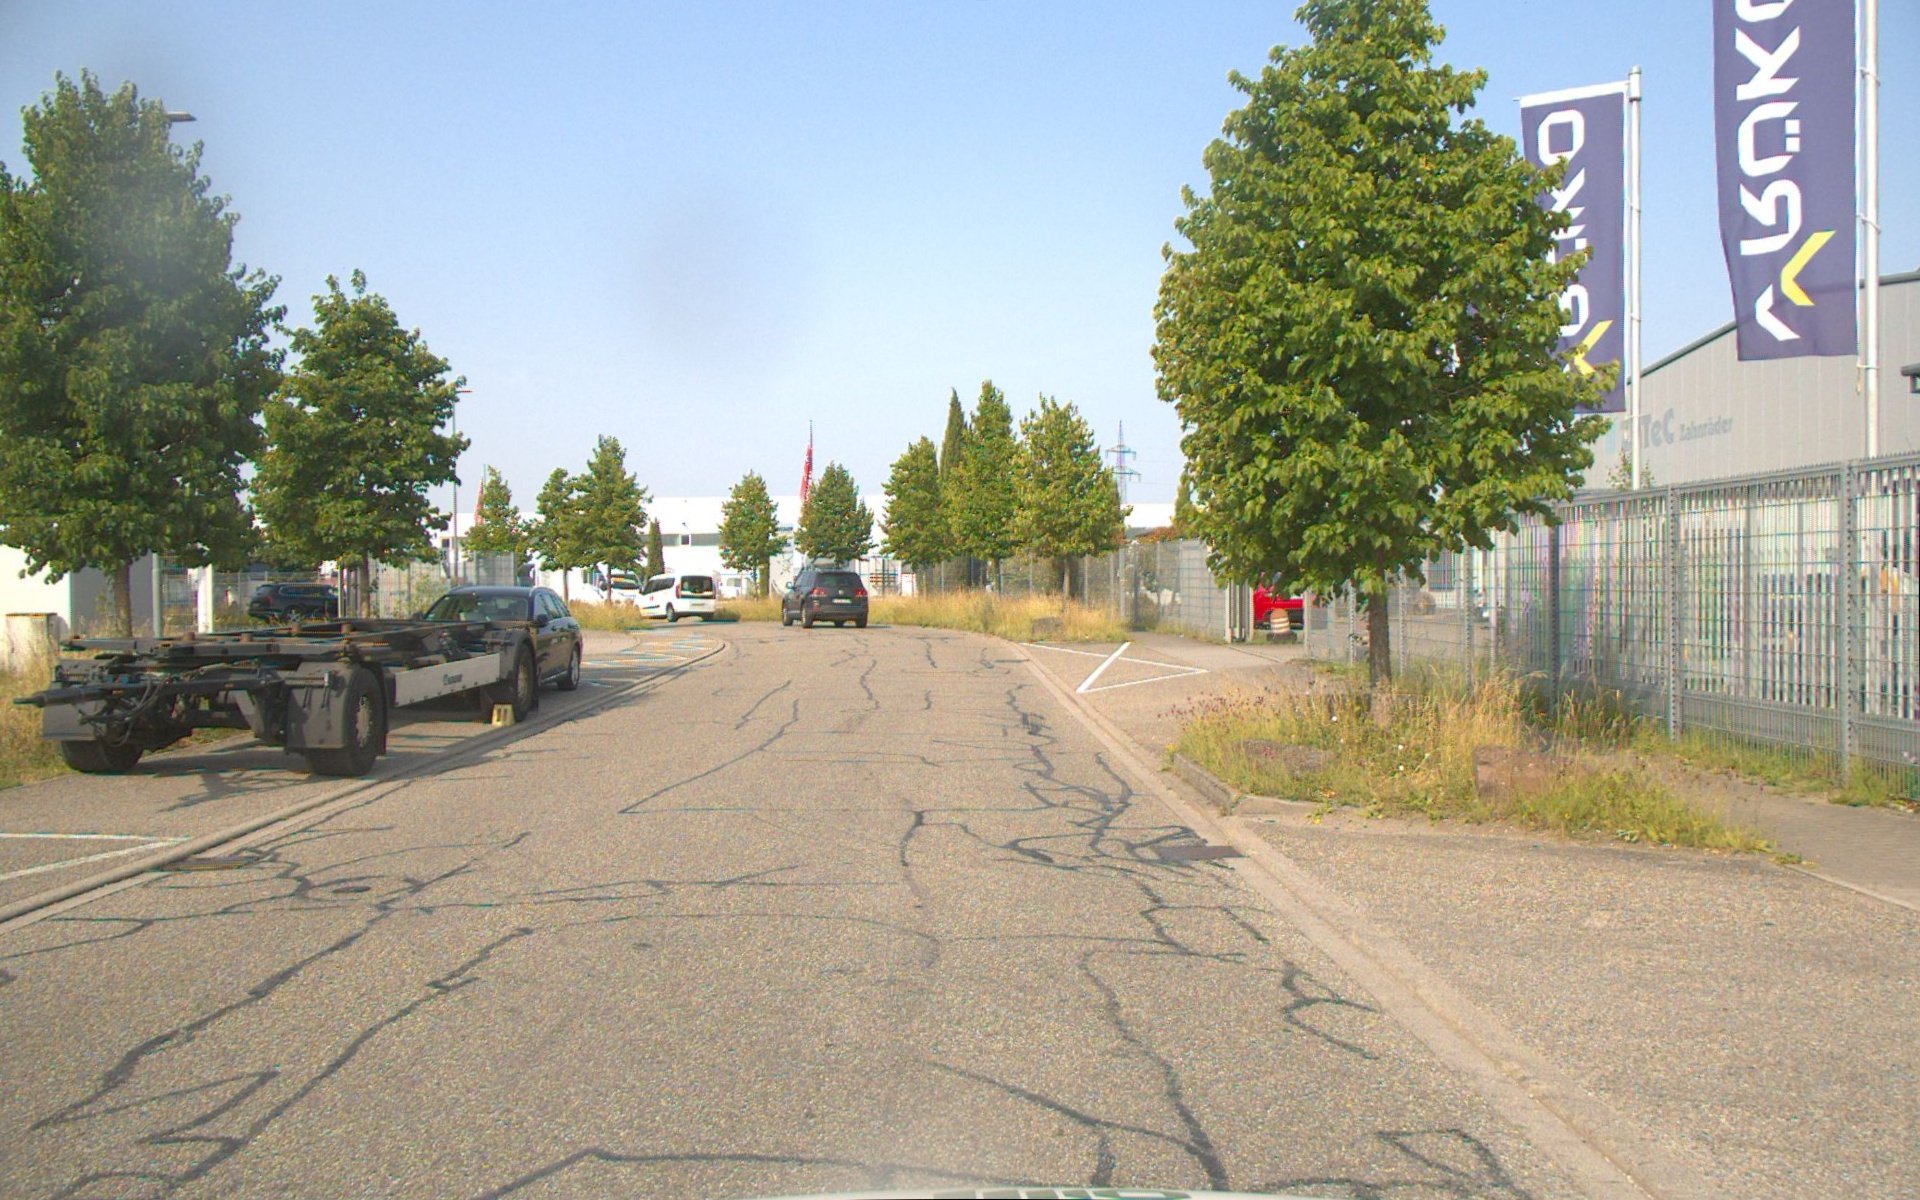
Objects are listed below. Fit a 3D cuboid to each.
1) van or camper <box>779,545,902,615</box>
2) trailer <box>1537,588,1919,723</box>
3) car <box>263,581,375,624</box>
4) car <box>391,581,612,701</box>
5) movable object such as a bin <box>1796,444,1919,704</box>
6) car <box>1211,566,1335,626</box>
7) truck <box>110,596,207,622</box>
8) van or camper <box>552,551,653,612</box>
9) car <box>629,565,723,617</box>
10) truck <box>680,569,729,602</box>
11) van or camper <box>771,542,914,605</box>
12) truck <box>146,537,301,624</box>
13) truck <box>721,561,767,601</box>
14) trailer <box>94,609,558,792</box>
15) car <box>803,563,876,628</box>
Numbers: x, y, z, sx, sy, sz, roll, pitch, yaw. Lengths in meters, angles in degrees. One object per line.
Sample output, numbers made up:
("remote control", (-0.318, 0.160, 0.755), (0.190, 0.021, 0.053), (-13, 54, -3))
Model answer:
("van or camper", (-5.355, -0.852, 73.045), (2.326, 2.897, 7.261), (-1, 0, -32))
("trailer", (8.499, 0.527, 18.716), (2.083, 1.265, 4.794), (-1, 1, -2))
("car", (-23.225, 0.088, 59.981), (1.567, 1.479, 3.485), (0, 0, 41))
("car", (-6.411, 0.505, 23.665), (1.953, 1.492, 4.432), (1, 1, -1))
("movable object such as a bin", (11.255, -0.291, 17.783), (1.848, 2.800, 5.159), (-1, 1, -1))
("car", (7.750, -0.119, 41.383), (1.844, 1.381, 4.769), (-1, 1, -5))
("truck", (-42.396, 0.466, 87.401), (6.413, 1.287, 2.517), (0, 1, 43))
("van or camper", (-18.428, -0.947, 84.958), (2.315, 2.995, 6.874), (-1, 1, -38))
("car", (-11.112, -0.344, 64.473), (1.976, 1.932, 4.414), (-1, 1, -34))
("truck", (-18.900, -1.090, 122.588), (2.400, 2.304, 8.001), (0, 1, 0))
("van or camper", (-6.051, -1.326, 84.476), (7.121, 3.085, 2.581), (-1, 0, -8))
("truck", (-36.548, -0.880, 81.701), (2.616, 3.997, 12.702), (0, 0, -45))
("truck", (-15.978, -1.415, 122.611), (2.400, 2.875, 8.001), (0, 1, 0))
("trailer", (-5.898, 0.819, 16.700), (2.087, 1.254, 7.156), (1, 1, -2))
("car", (-3.617, -0.153, 49.147), (1.955, 1.836, 3.994), (1, 1, -7))
